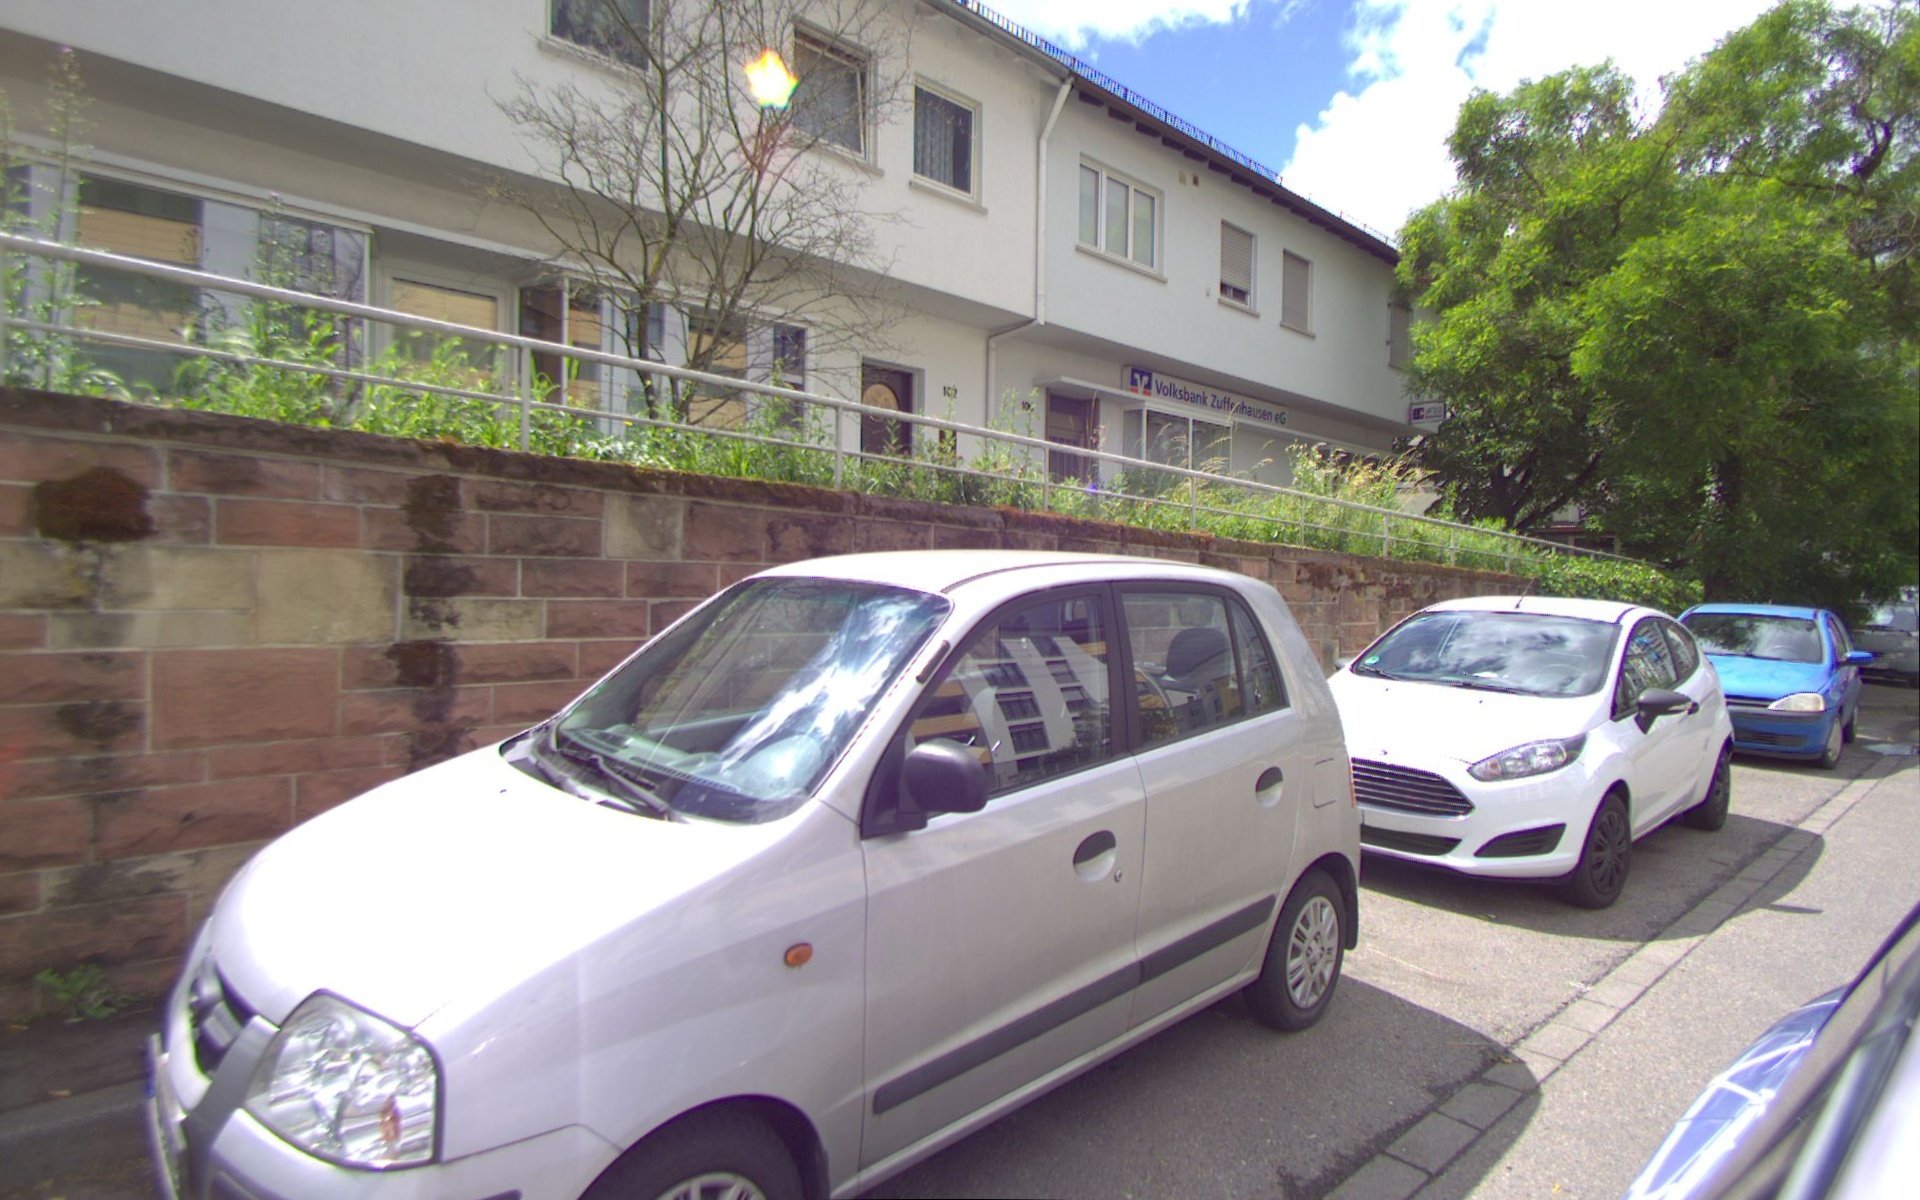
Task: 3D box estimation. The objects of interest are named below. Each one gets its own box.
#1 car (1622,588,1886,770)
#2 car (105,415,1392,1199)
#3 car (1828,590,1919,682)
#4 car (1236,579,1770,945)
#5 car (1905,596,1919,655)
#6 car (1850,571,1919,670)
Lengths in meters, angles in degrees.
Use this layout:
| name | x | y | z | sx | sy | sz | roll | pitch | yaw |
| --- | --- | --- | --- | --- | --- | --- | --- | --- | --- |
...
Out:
| name | x | y | z | sx | sy | sz | roll | pitch | yaw |
| --- | --- | --- | --- | --- | --- | --- | --- | --- | --- |
| car | 8.212 | 0.667 | 10.357 | 3.615 | 1.474 | 1.609 | 0 | 2 | -44 |
| car | -0.247 | 0.559 | 3.003 | 3.416 | 1.572 | 1.583 | 1 | 0 | -43 |
| car | 17.423 | 0.637 | 18.884 | 2.799 | 1.553 | 1.515 | 1 | 2 | -43 |
| car | 3.422 | 0.670 | 6.060 | 3.756 | 1.508 | 1.647 | 1 | 0 | -42 |
| car | 26.025 | 0.682 | 26.341 | 4.267 | 1.460 | 1.757 | 1 | 2 | -43 |
| car | 21.361 | 0.428 | 22.473 | 5.649 | 1.983 | 1.916 | 0 | 1 | -44 |
